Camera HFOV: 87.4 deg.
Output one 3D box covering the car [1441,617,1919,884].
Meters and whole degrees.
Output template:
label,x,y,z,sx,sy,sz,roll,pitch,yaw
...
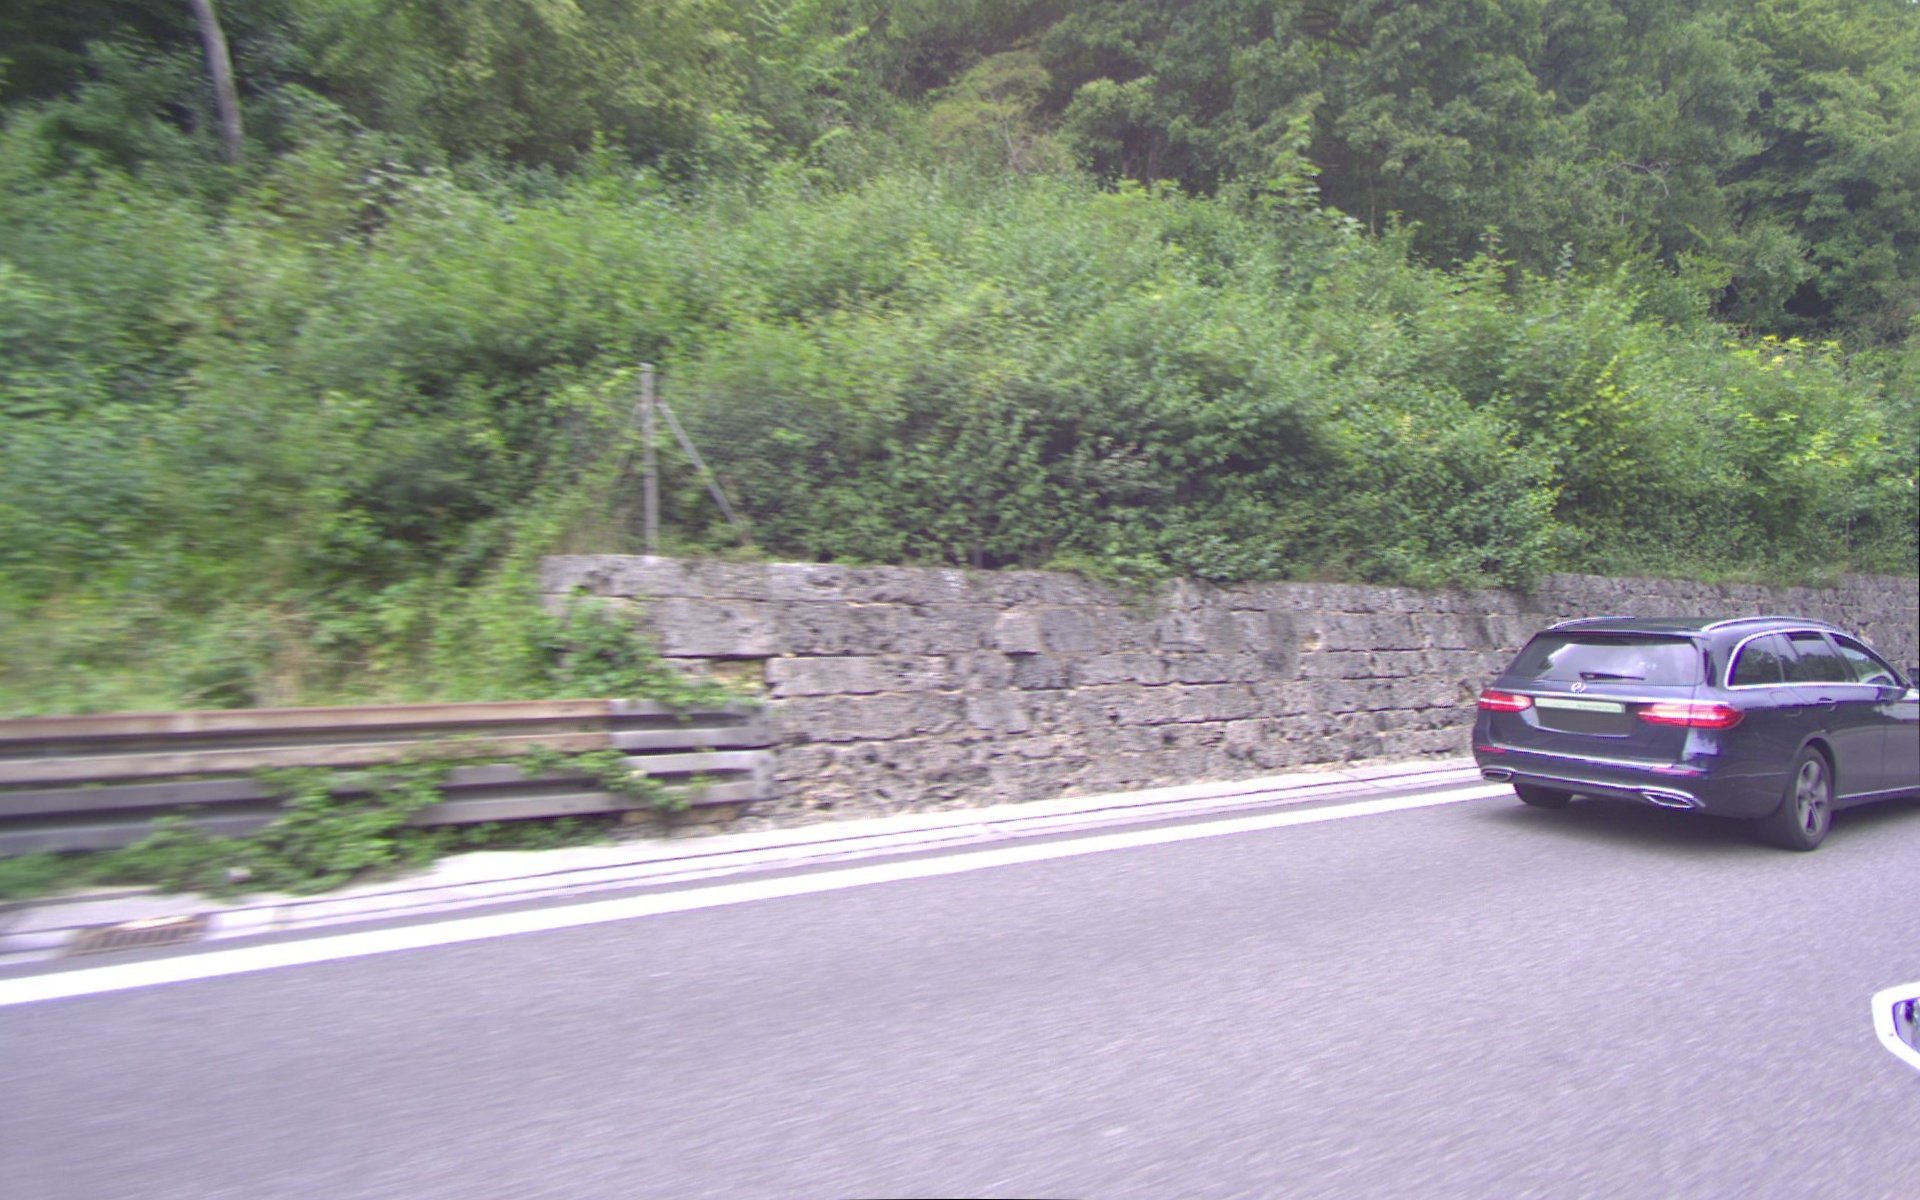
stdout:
label,x,y,z,sx,sy,sz,roll,pitch,yaw
car,6.026,0.880,7.658,5.062,1.483,1.752,1,-1,-31
